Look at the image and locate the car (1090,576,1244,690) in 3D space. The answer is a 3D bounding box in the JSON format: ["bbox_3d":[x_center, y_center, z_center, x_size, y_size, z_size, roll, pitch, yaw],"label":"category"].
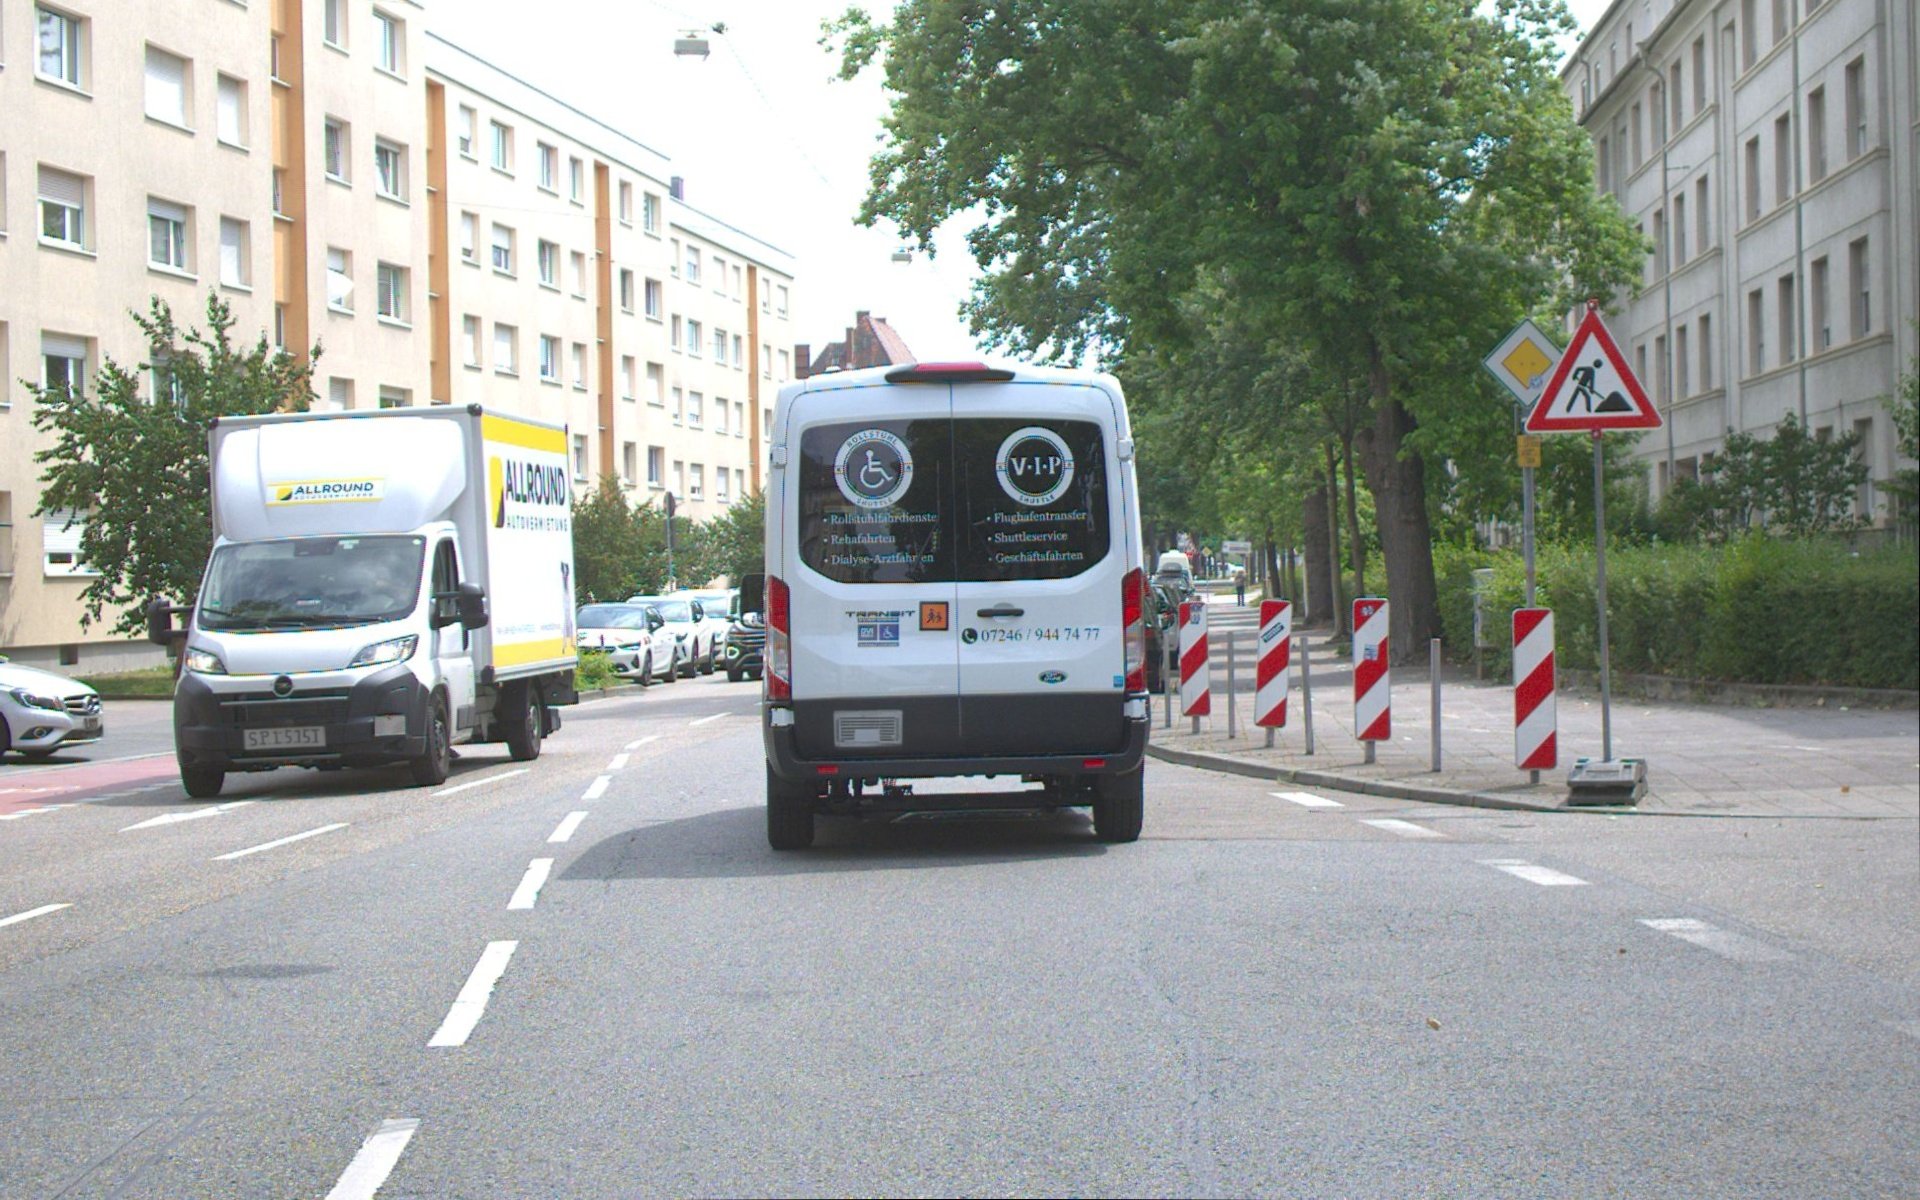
[{"bbox_3d":[2.849,0.415,46.509,1.918,1.439,4.238,-1,0,5],"label":"car"}]

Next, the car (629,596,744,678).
[{"bbox_3d":[-5.221,0.684,65.980,1.708,1.468,3.989,0,1,2],"label":"car"}]

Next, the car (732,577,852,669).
[{"bbox_3d":[-2.980,0.386,61.650,1.697,1.513,4.000,-2,1,3],"label":"car"}]

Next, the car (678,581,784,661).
[{"bbox_3d":[-4.826,0.413,72.994,1.697,1.607,4.477,0,1,3],"label":"car"}]

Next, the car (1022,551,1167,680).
[{"bbox_3d":[2.094,0.201,52.156,1.918,1.859,4.845,1,1,5],"label":"car"}]

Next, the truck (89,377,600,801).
[{"bbox_3d":[-5.046,-0.120,29.595,2.541,3.097,7.019,-3,0,4],"label":"truck"}]

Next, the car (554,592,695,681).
[{"bbox_3d":[-5.861,0.620,60.511,1.709,1.468,3.988,1,1,6],"label":"car"}]

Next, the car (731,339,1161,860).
[{"bbox_3d":[0.023,-0.005,19.448,2.070,2.532,4.634,-2,0,2],"label":"car"}]

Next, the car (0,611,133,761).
[{"bbox_3d":[-11.029,0.828,36.004,4.172,1.446,1.849,2,1,7],"label":"car"}]

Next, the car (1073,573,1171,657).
[{"bbox_3d":[2.901,0.246,61.777,1.697,1.445,4.101,0,1,3],"label":"car"}]

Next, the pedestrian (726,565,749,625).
[{"bbox_3d":[-6.766,-0.162,104.585,0.619,1.807,0.899,0,0,2],"label":"pedestrian"}]
